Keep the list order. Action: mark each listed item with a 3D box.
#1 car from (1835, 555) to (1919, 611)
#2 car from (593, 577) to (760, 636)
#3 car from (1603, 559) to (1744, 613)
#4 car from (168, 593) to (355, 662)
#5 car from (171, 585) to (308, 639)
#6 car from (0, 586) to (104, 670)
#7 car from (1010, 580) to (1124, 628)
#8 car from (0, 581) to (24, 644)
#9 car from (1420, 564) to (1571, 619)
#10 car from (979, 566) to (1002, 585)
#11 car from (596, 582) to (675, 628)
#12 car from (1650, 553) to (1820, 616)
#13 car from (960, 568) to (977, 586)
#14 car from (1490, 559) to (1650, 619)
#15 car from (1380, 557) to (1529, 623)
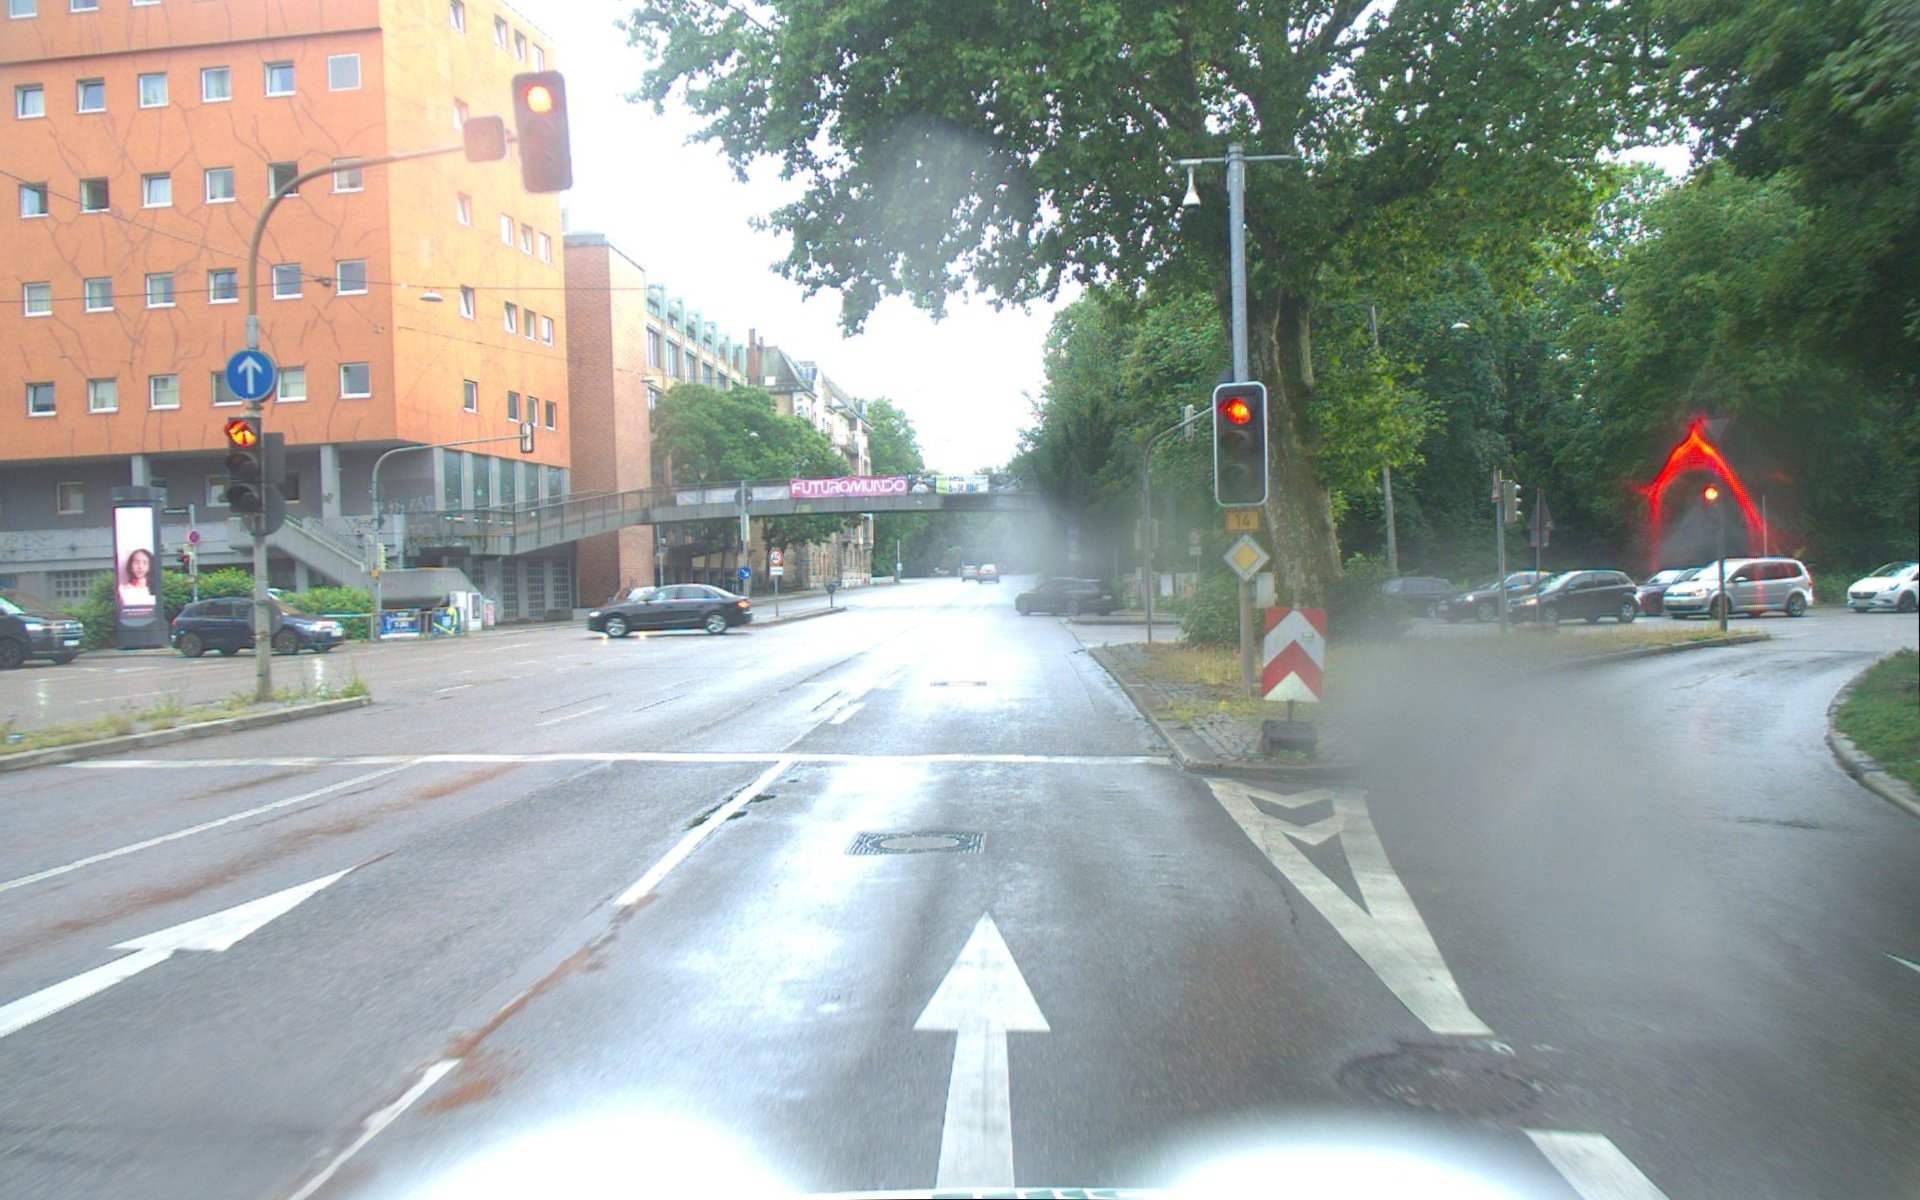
[{"bbox_3d":[28.151,-0.550,48.934,3.927,1.512,1.764,-4,0,-19],"label":"car"},{"bbox_3d":[-7.972,0.186,46.843,4.515,1.477,1.771,-2,0,-6],"label":"car"},{"bbox_3d":[21.617,-0.427,50.140,3.765,1.512,1.736,-2,1,-19],"label":"car"},{"bbox_3d":[-17.552,0.682,41.623,4.047,1.471,1.587,-3,0,10],"label":"car"},{"bbox_3d":[-25.346,0.410,58.238,3.929,1.646,1.896,-3,0,10],"label":"car"},{"bbox_3d":[-23.438,0.766,39.555,4.968,1.878,2.002,-4,-1,10],"label":"car"},{"bbox_3d":[3.933,0.125,61.693,1.860,1.666,4.469,-1,1,-35],"label":"car"},{"bbox_3d":[-32.880,0.385,53.595,1.951,2.048,4.855,2,0,5],"label":"car"},{"bbox_3d":[15.783,-0.260,48.775,3.927,1.512,1.869,-1,0,-19],"label":"car"},{"bbox_3d":[2.899,-2.340,157.723,2.078,1.765,4.198,0,2,-1],"label":"car"},{"bbox_3d":[-11.692,0.168,59.825,1.952,1.545,4.001,-2,0,1],"label":"car"},{"bbox_3d":[21.963,-0.437,46.911,4.189,1.512,1.767,-3,0,-15],"label":"car"},{"bbox_3d":[0.885,-2.452,177.008,1.727,1.726,3.706,-3,0,1],"label":"car"},{"bbox_3d":[16.543,-0.297,44.893,3.789,1.511,1.666,-1,0,-14],"label":"car"},{"bbox_3d":[16.361,-0.334,54.875,4.250,1.867,2.136,-3,0,0],"label":"car"}]
